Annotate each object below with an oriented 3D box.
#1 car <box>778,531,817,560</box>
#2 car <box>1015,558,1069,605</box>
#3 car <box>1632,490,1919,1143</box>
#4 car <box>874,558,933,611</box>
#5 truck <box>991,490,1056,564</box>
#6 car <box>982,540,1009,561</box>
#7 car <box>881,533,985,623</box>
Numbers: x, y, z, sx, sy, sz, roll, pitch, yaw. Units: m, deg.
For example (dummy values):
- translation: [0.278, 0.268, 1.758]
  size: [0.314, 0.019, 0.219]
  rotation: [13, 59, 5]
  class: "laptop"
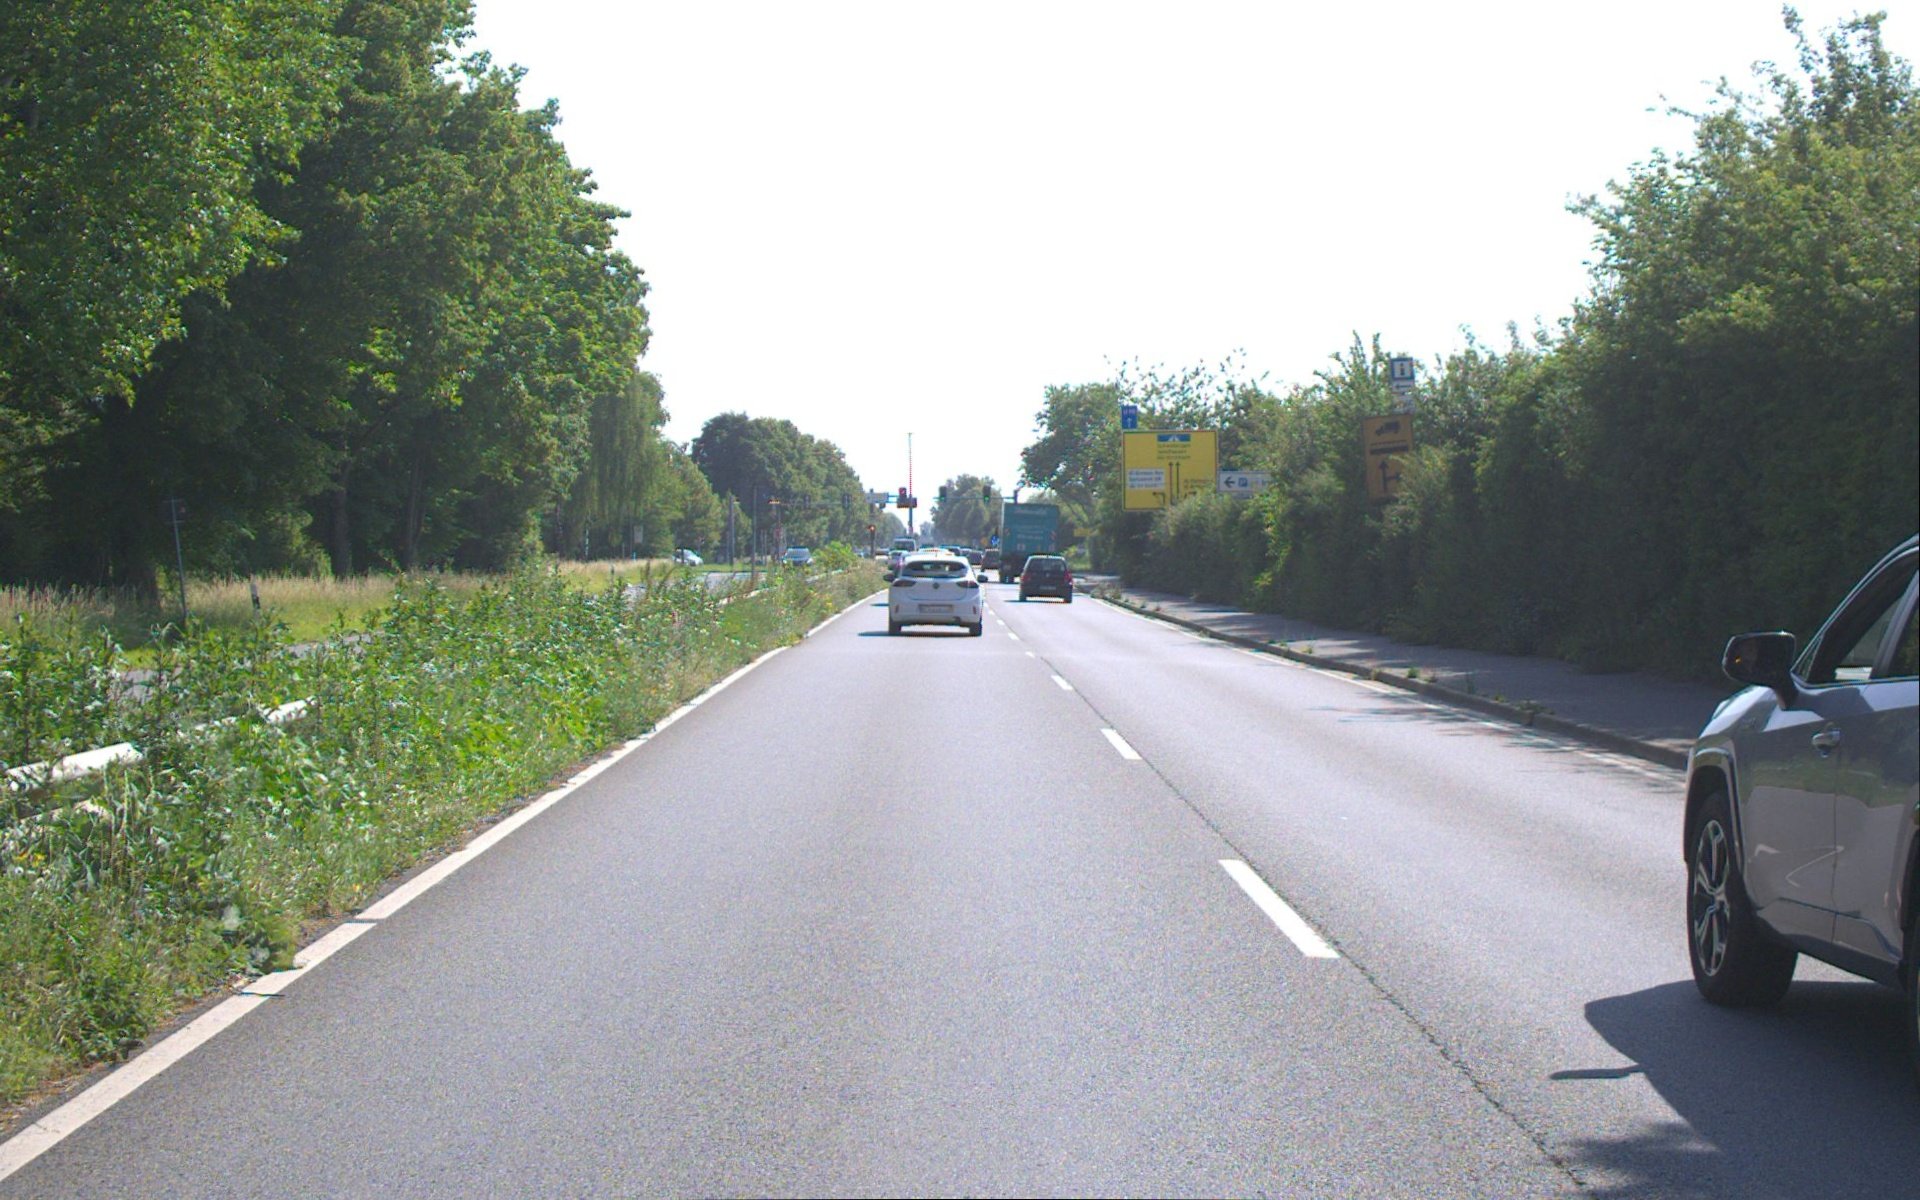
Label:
- translation: [-8.996, -3.002, 190.044]
  size: [1.779, 1.525, 4.161]
  rotation: [-1, 1, 2]
  class: "car"
- translation: [2.534, -0.563, 106.498]
  size: [1.572, 1.410, 3.277]
  rotation: [1, 0, 0]
  class: "car"
- translation: [3.425, 0.561, 10.096]
  size: [1.902, 1.674, 4.684]
  rotation: [2, 1, 0]
  class: "car"
- translation: [-1.546, -0.427, 95.079]
  size: [1.572, 1.410, 3.277]
  rotation: [1, 0, 0]
  class: "car"
- translation: [2.987, -3.462, 164.196]
  size: [2.891, 3.417, 9.169]
  rotation: [0, 1, 0]
  class: "truck"
- translation: [2.624, -3.622, 252.819]
  size: [1.812, 1.459, 4.459]
  rotation: [0, 0, 2]
  class: "car"
- translation: [-0.465, -0.428, 63.214]
  size: [1.799, 1.547, 4.000]
  rotation: [1, 1, 1]
  class: "car"
